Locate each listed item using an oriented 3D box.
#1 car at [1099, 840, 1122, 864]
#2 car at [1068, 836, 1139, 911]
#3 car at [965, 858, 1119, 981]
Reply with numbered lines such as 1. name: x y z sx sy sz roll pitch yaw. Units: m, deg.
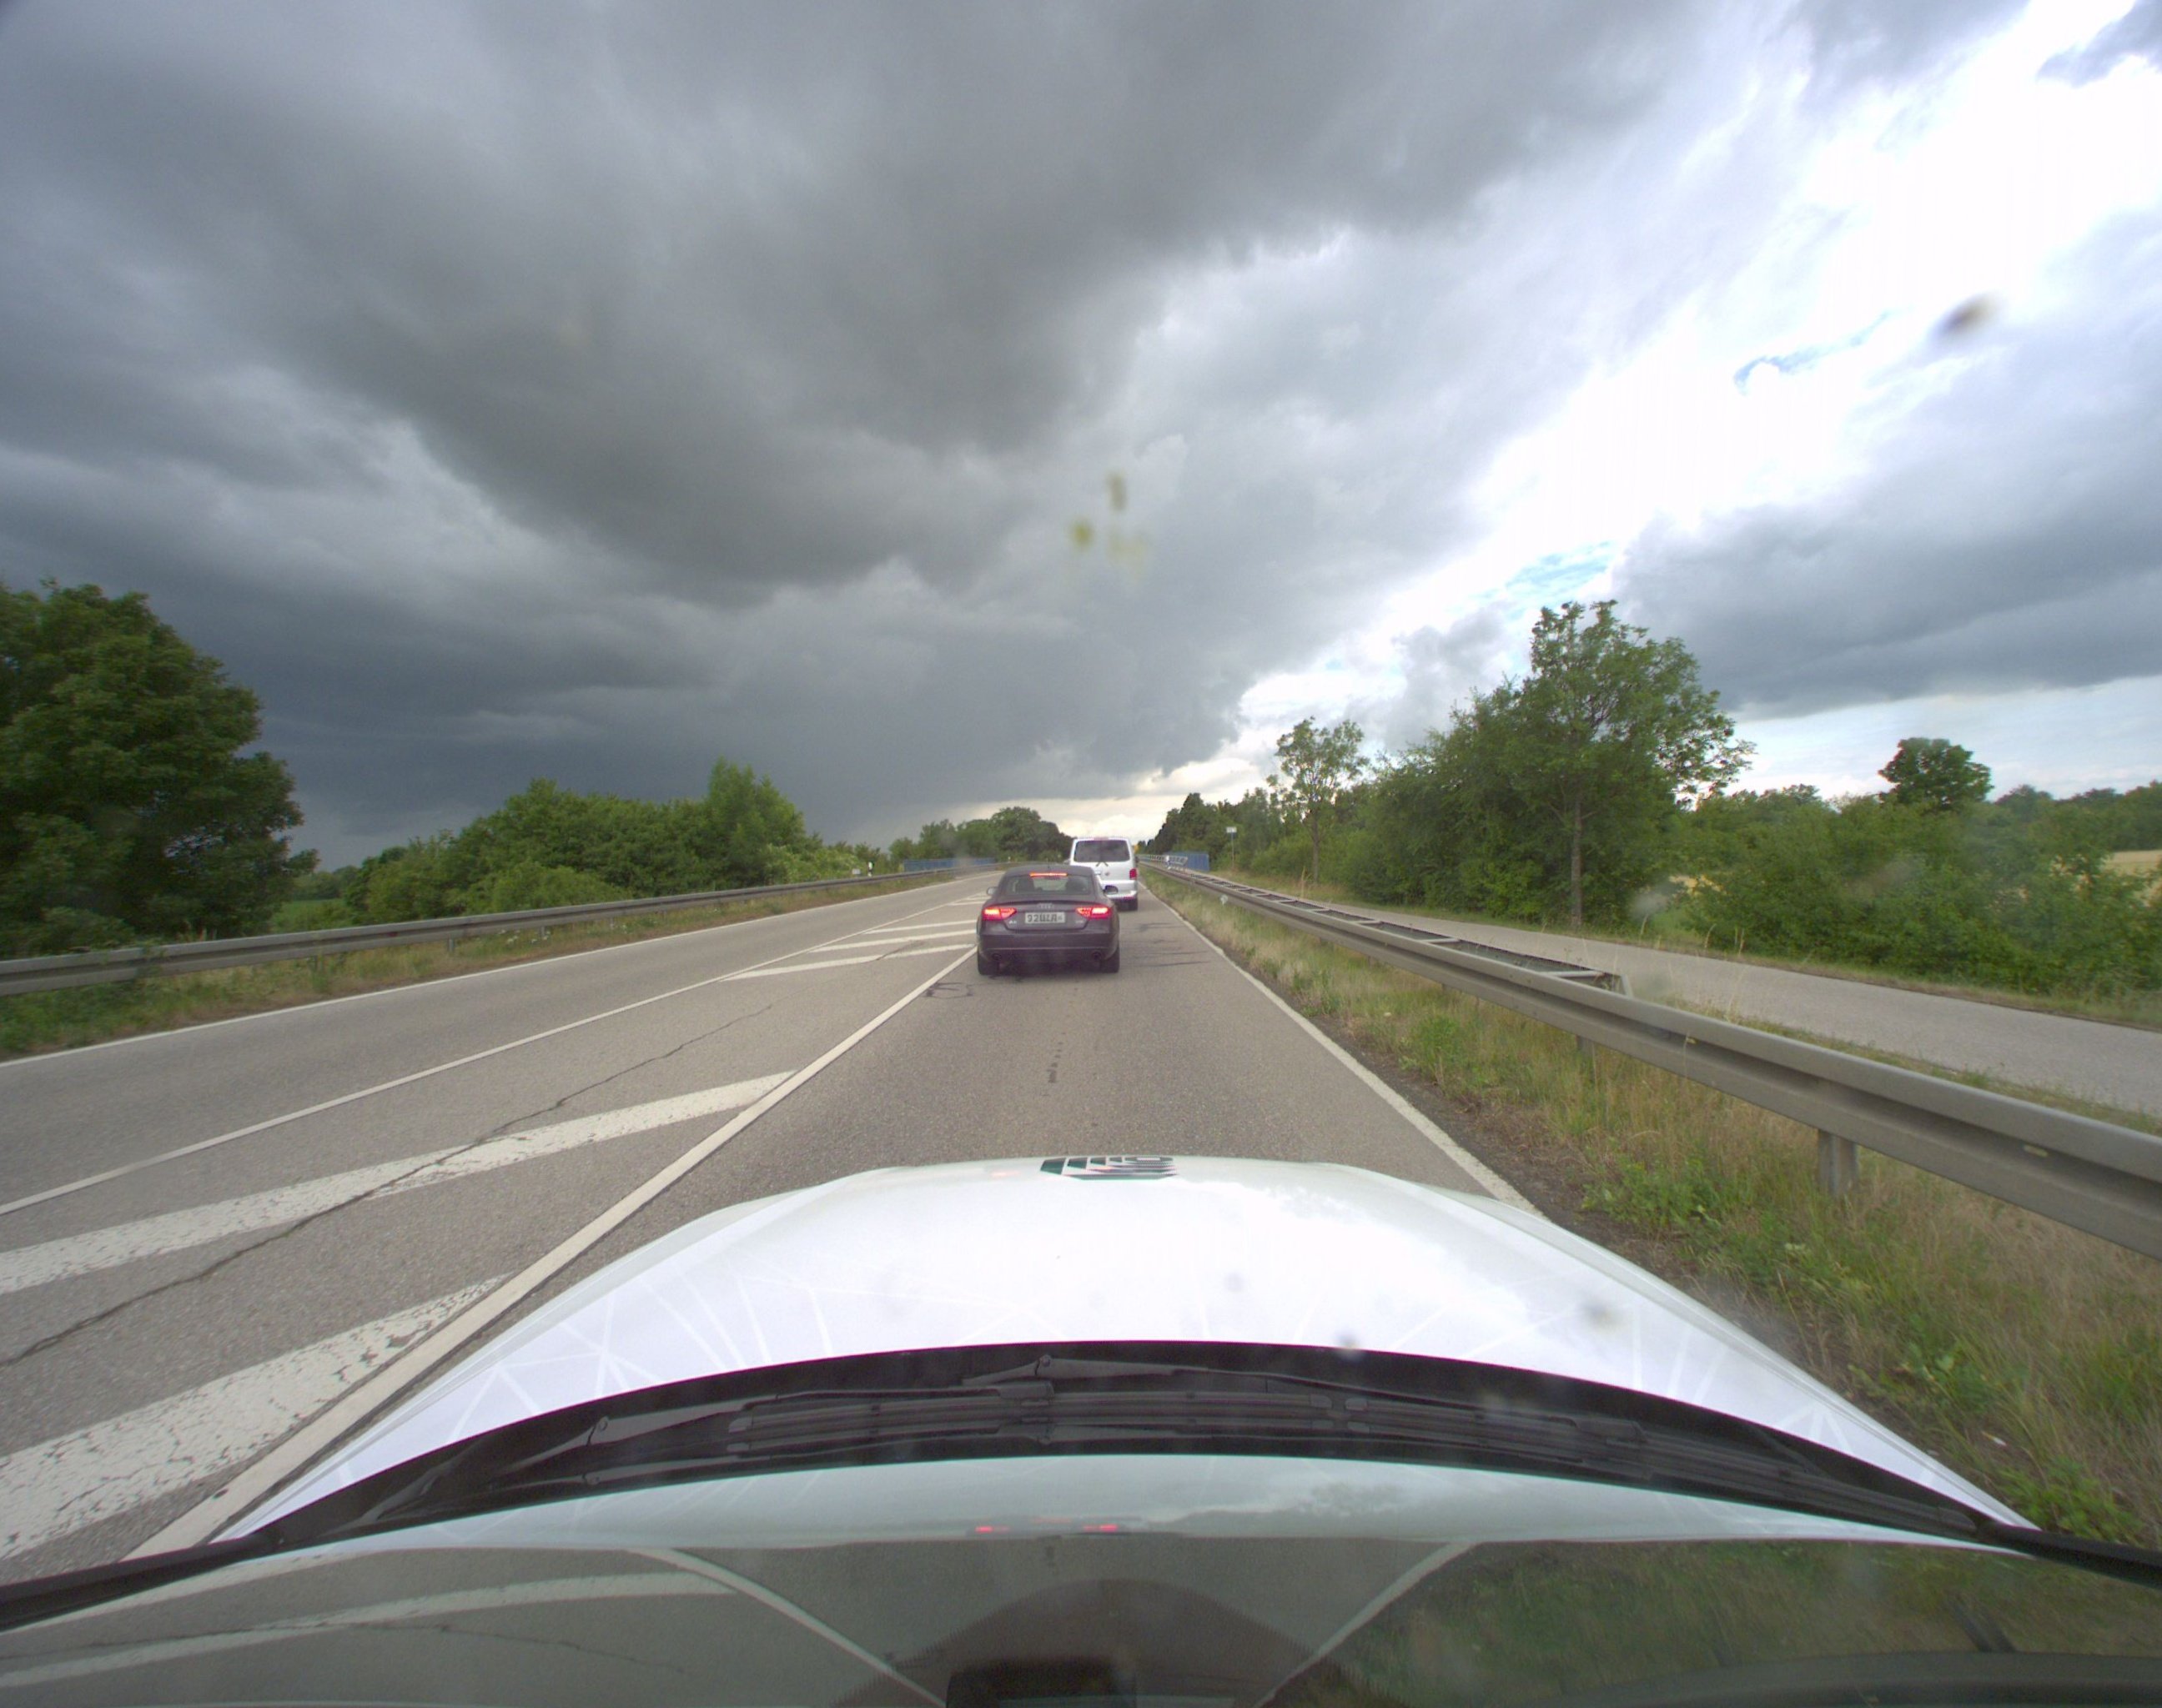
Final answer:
1. car: 3.214 -0.217 89.233 2.438 2.504 5.044 -1 0 2
2. car: 0.620 0.513 22.633 1.779 1.890 4.001 -1 -1 1
3. car: -0.400 0.784 11.498 1.779 1.424 4.001 -1 -1 1
